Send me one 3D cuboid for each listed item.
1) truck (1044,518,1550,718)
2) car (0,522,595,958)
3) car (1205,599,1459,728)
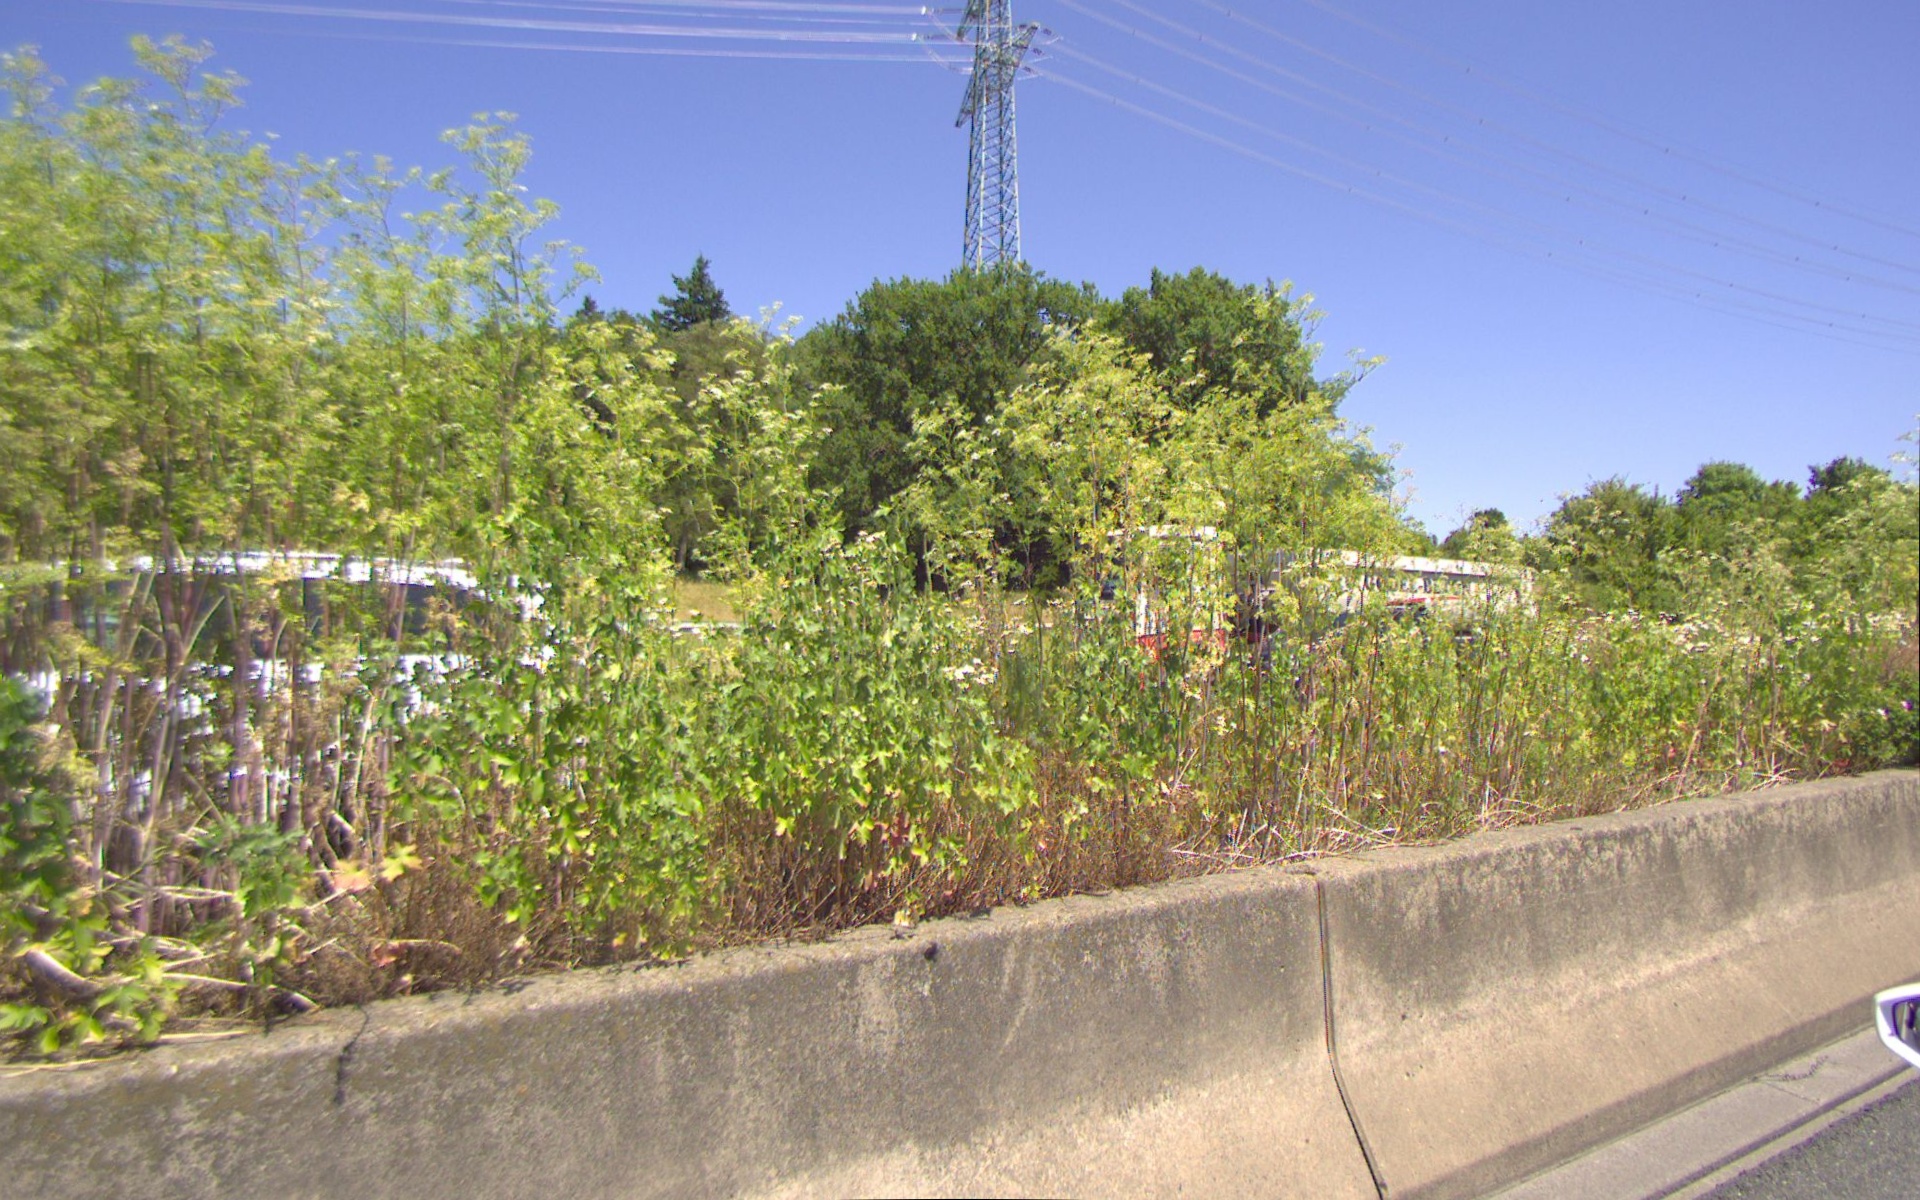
[{"bbox_3d":[7.383,0.448,20.770,11.674,3.332,2.753,2,-1,-29],"label":"truck"},{"bbox_3d":[-3.964,0.607,5.221,3.628,1.825,1.672,2,-1,-31],"label":"car"},{"bbox_3d":[5.896,0.949,15.794,3.979,1.811,1.597,2,-1,-30],"label":"car"}]
